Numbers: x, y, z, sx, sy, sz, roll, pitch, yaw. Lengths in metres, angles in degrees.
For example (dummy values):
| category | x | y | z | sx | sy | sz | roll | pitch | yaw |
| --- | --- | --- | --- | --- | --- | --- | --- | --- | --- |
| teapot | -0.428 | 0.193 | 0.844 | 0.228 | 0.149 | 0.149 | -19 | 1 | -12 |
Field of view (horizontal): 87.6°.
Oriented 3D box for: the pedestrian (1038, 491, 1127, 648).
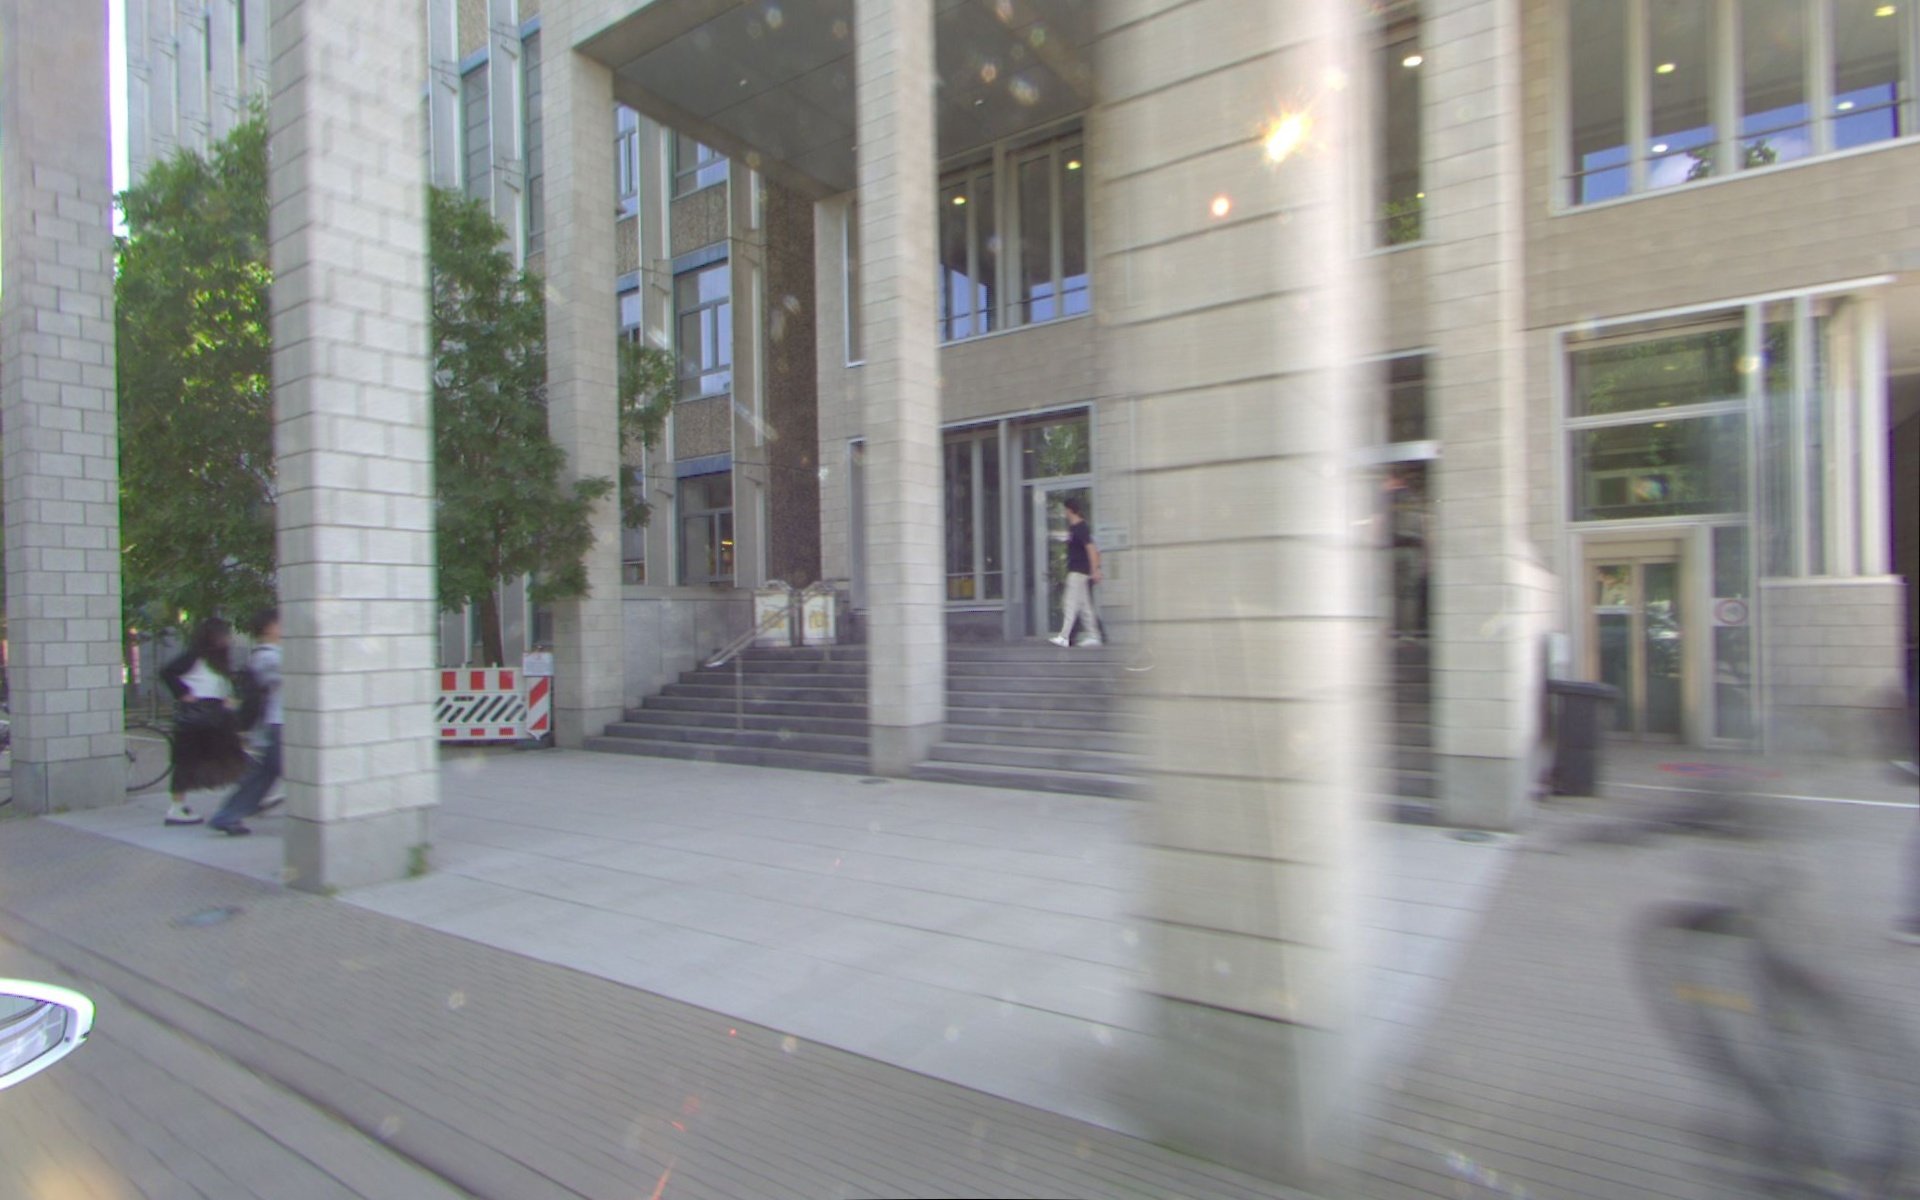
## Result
| category | x | y | z | sx | sy | sz | roll | pitch | yaw |
| --- | --- | --- | --- | --- | --- | --- | --- | --- | --- |
| pedestrian | 1.469 | -0.352 | 12.084 | 0.866 | 1.827 | 0.702 | 0 | 0 | -14 |

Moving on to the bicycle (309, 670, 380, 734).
| category | x | y | z | sx | sy | sz | roll | pitch | yaw |
| --- | --- | --- | --- | --- | --- | --- | --- | --- | --- |
| bicycle | -9.385 | 1.536 | 15.248 | 1.427 | 0.917 | 0.290 | -1 | -1 | 31 |

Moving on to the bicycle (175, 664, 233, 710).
| category | x | y | z | sx | sy | sz | roll | pitch | yaw |
| --- | --- | --- | --- | --- | --- | --- | --- | --- | --- |
| bicycle | -15.852 | 1.820 | 20.990 | 1.593 | 0.917 | 0.290 | -1 | -1 | 26 |

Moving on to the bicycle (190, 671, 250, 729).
| category | x | y | z | sx | sy | sz | roll | pitch | yaw |
| --- | --- | --- | --- | --- | --- | --- | --- | --- | --- |
| bicycle | -12.423 | 1.662 | 16.804 | 1.427 | 0.917 | 0.290 | -1 | -1 | 31 |

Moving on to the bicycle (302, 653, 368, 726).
| category | x | y | z | sx | sy | sz | roll | pitch | yaw |
| --- | --- | --- | --- | --- | --- | --- | --- | --- | --- |
| bicycle | -10.235 | 1.453 | 16.391 | 1.427 | 1.143 | 0.290 | -1 | -1 | 31 |

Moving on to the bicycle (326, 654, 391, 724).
| category | x | y | z | sx | sy | sz | roll | pitch | yaw |
| --- | --- | --- | --- | --- | --- | --- | --- | --- | --- |
| bicycle | -10.060 | 1.470 | 16.745 | 1.427 | 1.108 | 0.290 | -1 | -1 | 31 |

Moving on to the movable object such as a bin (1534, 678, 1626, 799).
| category | x | y | z | sx | sy | sz | roll | pitch | yaw |
| --- | --- | --- | --- | --- | --- | --- | --- | --- | --- |
| movable object such as a bin | 5.111 | 1.130 | 8.273 | 0.542 | 0.950 | 0.373 | -1 | -1 | 15 |

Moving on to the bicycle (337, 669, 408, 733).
| category | x | y | z | sx | sy | sz | roll | pitch | yaw |
| --- | --- | --- | --- | --- | --- | --- | --- | --- | --- |
| bicycle | -9.080 | 1.544 | 15.462 | 1.427 | 0.917 | 0.290 | -1 | -1 | 31 |

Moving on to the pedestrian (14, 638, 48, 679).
| category | x | y | z | sx | sy | sz | roll | pitch | yaw |
| --- | --- | --- | --- | --- | --- | --- | --- | --- | --- |
| pedestrian | -40.659 | 2.548 | 43.842 | 0.675 | 1.749 | 0.901 | -4 | -2 | 30 |

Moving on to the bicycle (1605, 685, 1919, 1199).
| category | x | y | z | sx | sy | sz | roll | pitch | yaw |
| --- | --- | --- | --- | --- | --- | --- | --- | --- | --- |
| bicycle | 1.721 | 0.852 | 2.009 | 0.596 | 1.180 | 1.877 | 0 | 1 | 29 |

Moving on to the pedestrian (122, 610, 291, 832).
| category | x | y | z | sx | sy | sz | roll | pitch | yaw |
| --- | --- | --- | --- | --- | --- | --- | --- | --- | --- |
| pedestrian | -5.902 | 0.907 | 7.896 | 0.727 | 1.638 | 0.807 | -1 | 0 | -6 |

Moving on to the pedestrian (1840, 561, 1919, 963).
| category | x | y | z | sx | sy | sz | roll | pitch | yaw |
| --- | --- | --- | --- | --- | --- | --- | --- | --- | --- |
| pedestrian | 4.257 | 0.639 | 3.975 | 0.865 | 1.595 | 0.819 | -1 | 0 | 16 |

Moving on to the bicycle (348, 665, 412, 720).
| category | x | y | z | sx | sy | sz | roll | pitch | yaw |
| --- | --- | --- | --- | --- | --- | --- | --- | --- | --- |
| bicycle | -9.872 | 1.561 | 17.039 | 1.427 | 0.899 | 0.290 | -1 | -1 | 31 |

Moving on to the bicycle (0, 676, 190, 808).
| category | x | y | z | sx | sy | sz | roll | pitch | yaw |
| --- | --- | --- | --- | --- | --- | --- | --- | --- | --- |
| bicycle | -8.298 | 1.293 | 9.337 | 0.443 | 1.053 | 1.736 | 0 | 0 | 29 |

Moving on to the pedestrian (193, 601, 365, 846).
| category | x | y | z | sx | sy | sz | roll | pitch | yaw |
| --- | --- | --- | --- | --- | --- | --- | --- | --- | --- |
| pedestrian | -4.981 | 0.857 | 7.383 | 0.883 | 1.692 | 0.673 | 0 | 0 | -19 |

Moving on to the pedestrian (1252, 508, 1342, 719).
| category | x | y | z | sx | sy | sz | roll | pitch | yaw |
| --- | --- | --- | --- | --- | --- | --- | --- | --- | --- |
| pedestrian | 2.975 | 0.118 | 8.815 | 0.634 | 1.747 | 0.863 | 0 | 0 | 26 |

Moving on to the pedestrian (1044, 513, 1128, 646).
| category | x | y | z | sx | sy | sz | roll | pitch | yaw |
| --- | --- | --- | --- | --- | --- | --- | --- | --- | --- |
| pedestrian | 1.641 | -0.252 | 13.121 | 0.867 | 1.677 | 0.701 | 0 | 0 | -19 |

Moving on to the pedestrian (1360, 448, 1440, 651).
| category | x | y | z | sx | sy | sz | roll | pitch | yaw |
| --- | --- | --- | --- | --- | --- | --- | --- | --- | --- |
| pedestrian | 4.160 | -0.443 | 9.454 | 0.582 | 1.827 | 0.681 | 0 | 0 | 34 |

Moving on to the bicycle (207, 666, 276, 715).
| category | x | y | z | sx | sy | sz | roll | pitch | yaw |
| --- | --- | --- | --- | --- | --- | --- | --- | --- | --- |
| bicycle | -14.162 | 1.762 | 19.729 | 1.776 | 0.917 | 0.290 | -1 | -1 | 26 |

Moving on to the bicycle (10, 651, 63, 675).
| category | x | y | z | sx | sy | sz | roll | pitch | yaw |
| --- | --- | --- | --- | --- | --- | --- | --- | --- | --- |
| bicycle | -44.009 | 2.977 | 47.746 | 0.517 | 1.124 | 1.803 | -2 | -3 | 37 |

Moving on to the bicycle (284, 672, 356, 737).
| category | x | y | z | sx | sy | sz | roll | pitch | yaw |
| --- | --- | --- | --- | --- | --- | --- | --- | --- | --- |
| bicycle | -9.579 | 1.546 | 14.973 | 1.427 | 0.917 | 0.290 | -1 | -1 | 31 |

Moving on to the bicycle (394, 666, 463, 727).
| category | x | y | z | sx | sy | sz | roll | pitch | yaw |
| --- | --- | --- | --- | --- | --- | --- | --- | --- | --- |
| bicycle | -8.592 | 1.543 | 16.179 | 1.427 | 0.917 | 0.290 | -1 | -1 | 31 |

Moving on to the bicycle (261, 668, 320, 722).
| category | x | y | z | sx | sy | sz | roll | pitch | yaw |
| --- | --- | --- | --- | --- | --- | --- | --- | --- | --- |
| bicycle | -11.944 | 1.676 | 17.848 | 1.427 | 0.917 | 0.290 | -1 | -1 | 31 |

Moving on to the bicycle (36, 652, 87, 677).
| category | x | y | z | sx | sy | sz | roll | pitch | yaw |
| --- | --- | --- | --- | --- | --- | --- | --- | --- | --- |
| bicycle | -41.715 | 2.967 | 46.486 | 0.468 | 1.124 | 1.688 | -2 | -3 | 37 |

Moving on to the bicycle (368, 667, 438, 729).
| category | x | y | z | sx | sy | sz | roll | pitch | yaw |
| --- | --- | --- | --- | --- | --- | --- | --- | --- | --- |
| bicycle | -8.812 | 1.535 | 15.836 | 1.427 | 0.917 | 0.290 | -1 | -1 | 31 |

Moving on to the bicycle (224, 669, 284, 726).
| category | x | y | z | sx | sy | sz | roll | pitch | yaw |
| --- | --- | --- | --- | --- | --- | --- | --- | --- | --- |
| bicycle | -12.202 | 1.673 | 17.300 | 1.427 | 0.917 | 0.290 | -1 | -1 | 31 |
